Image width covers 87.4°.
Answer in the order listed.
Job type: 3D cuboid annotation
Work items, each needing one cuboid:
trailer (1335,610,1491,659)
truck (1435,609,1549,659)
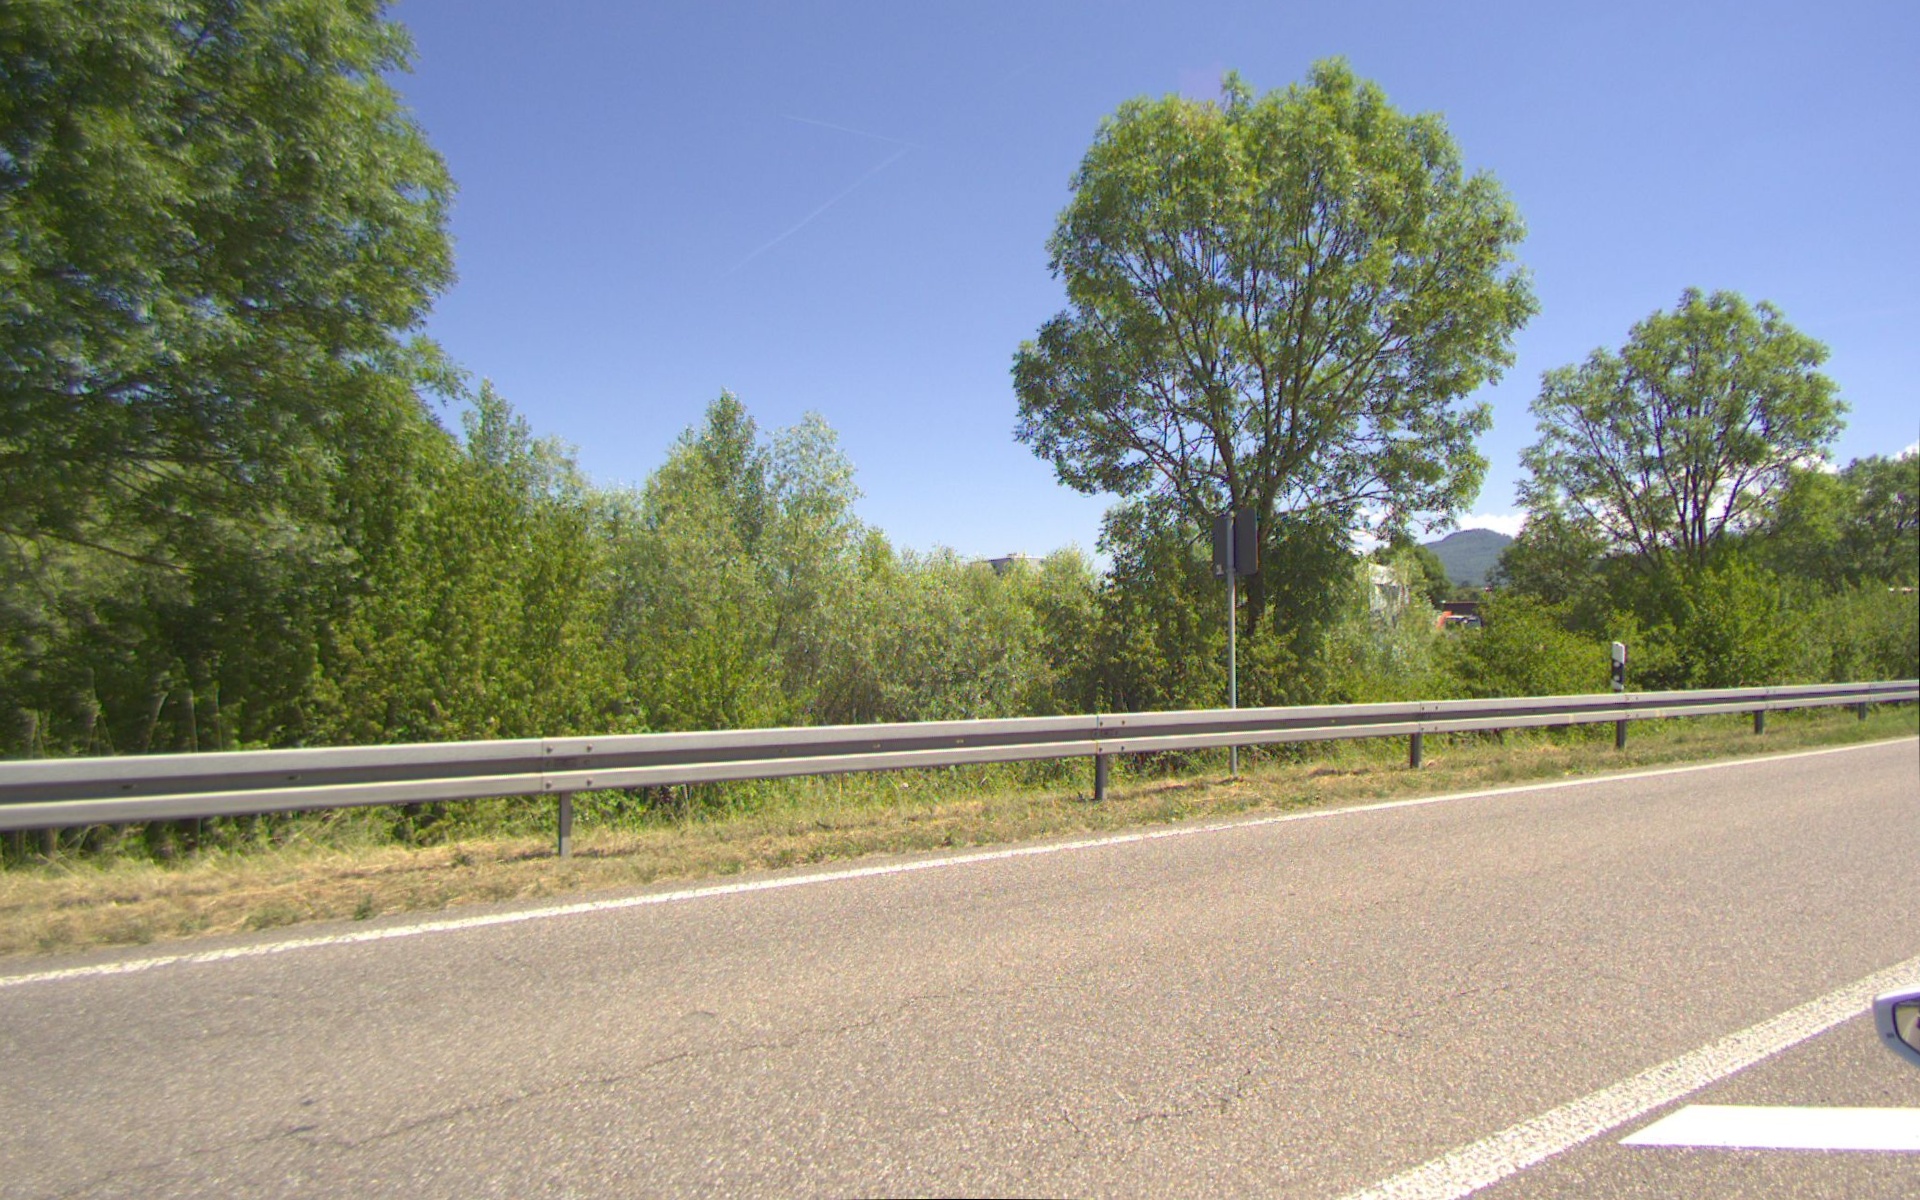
[{"bbox_3d":[35.790,2.867,80.150,2.206,3.550,12.265,0,-3,-30],"label":"trailer"},{"bbox_3d":[39.172,2.575,74.253,2.206,3.550,7.373,-1,-3,-30],"label":"truck"}]
